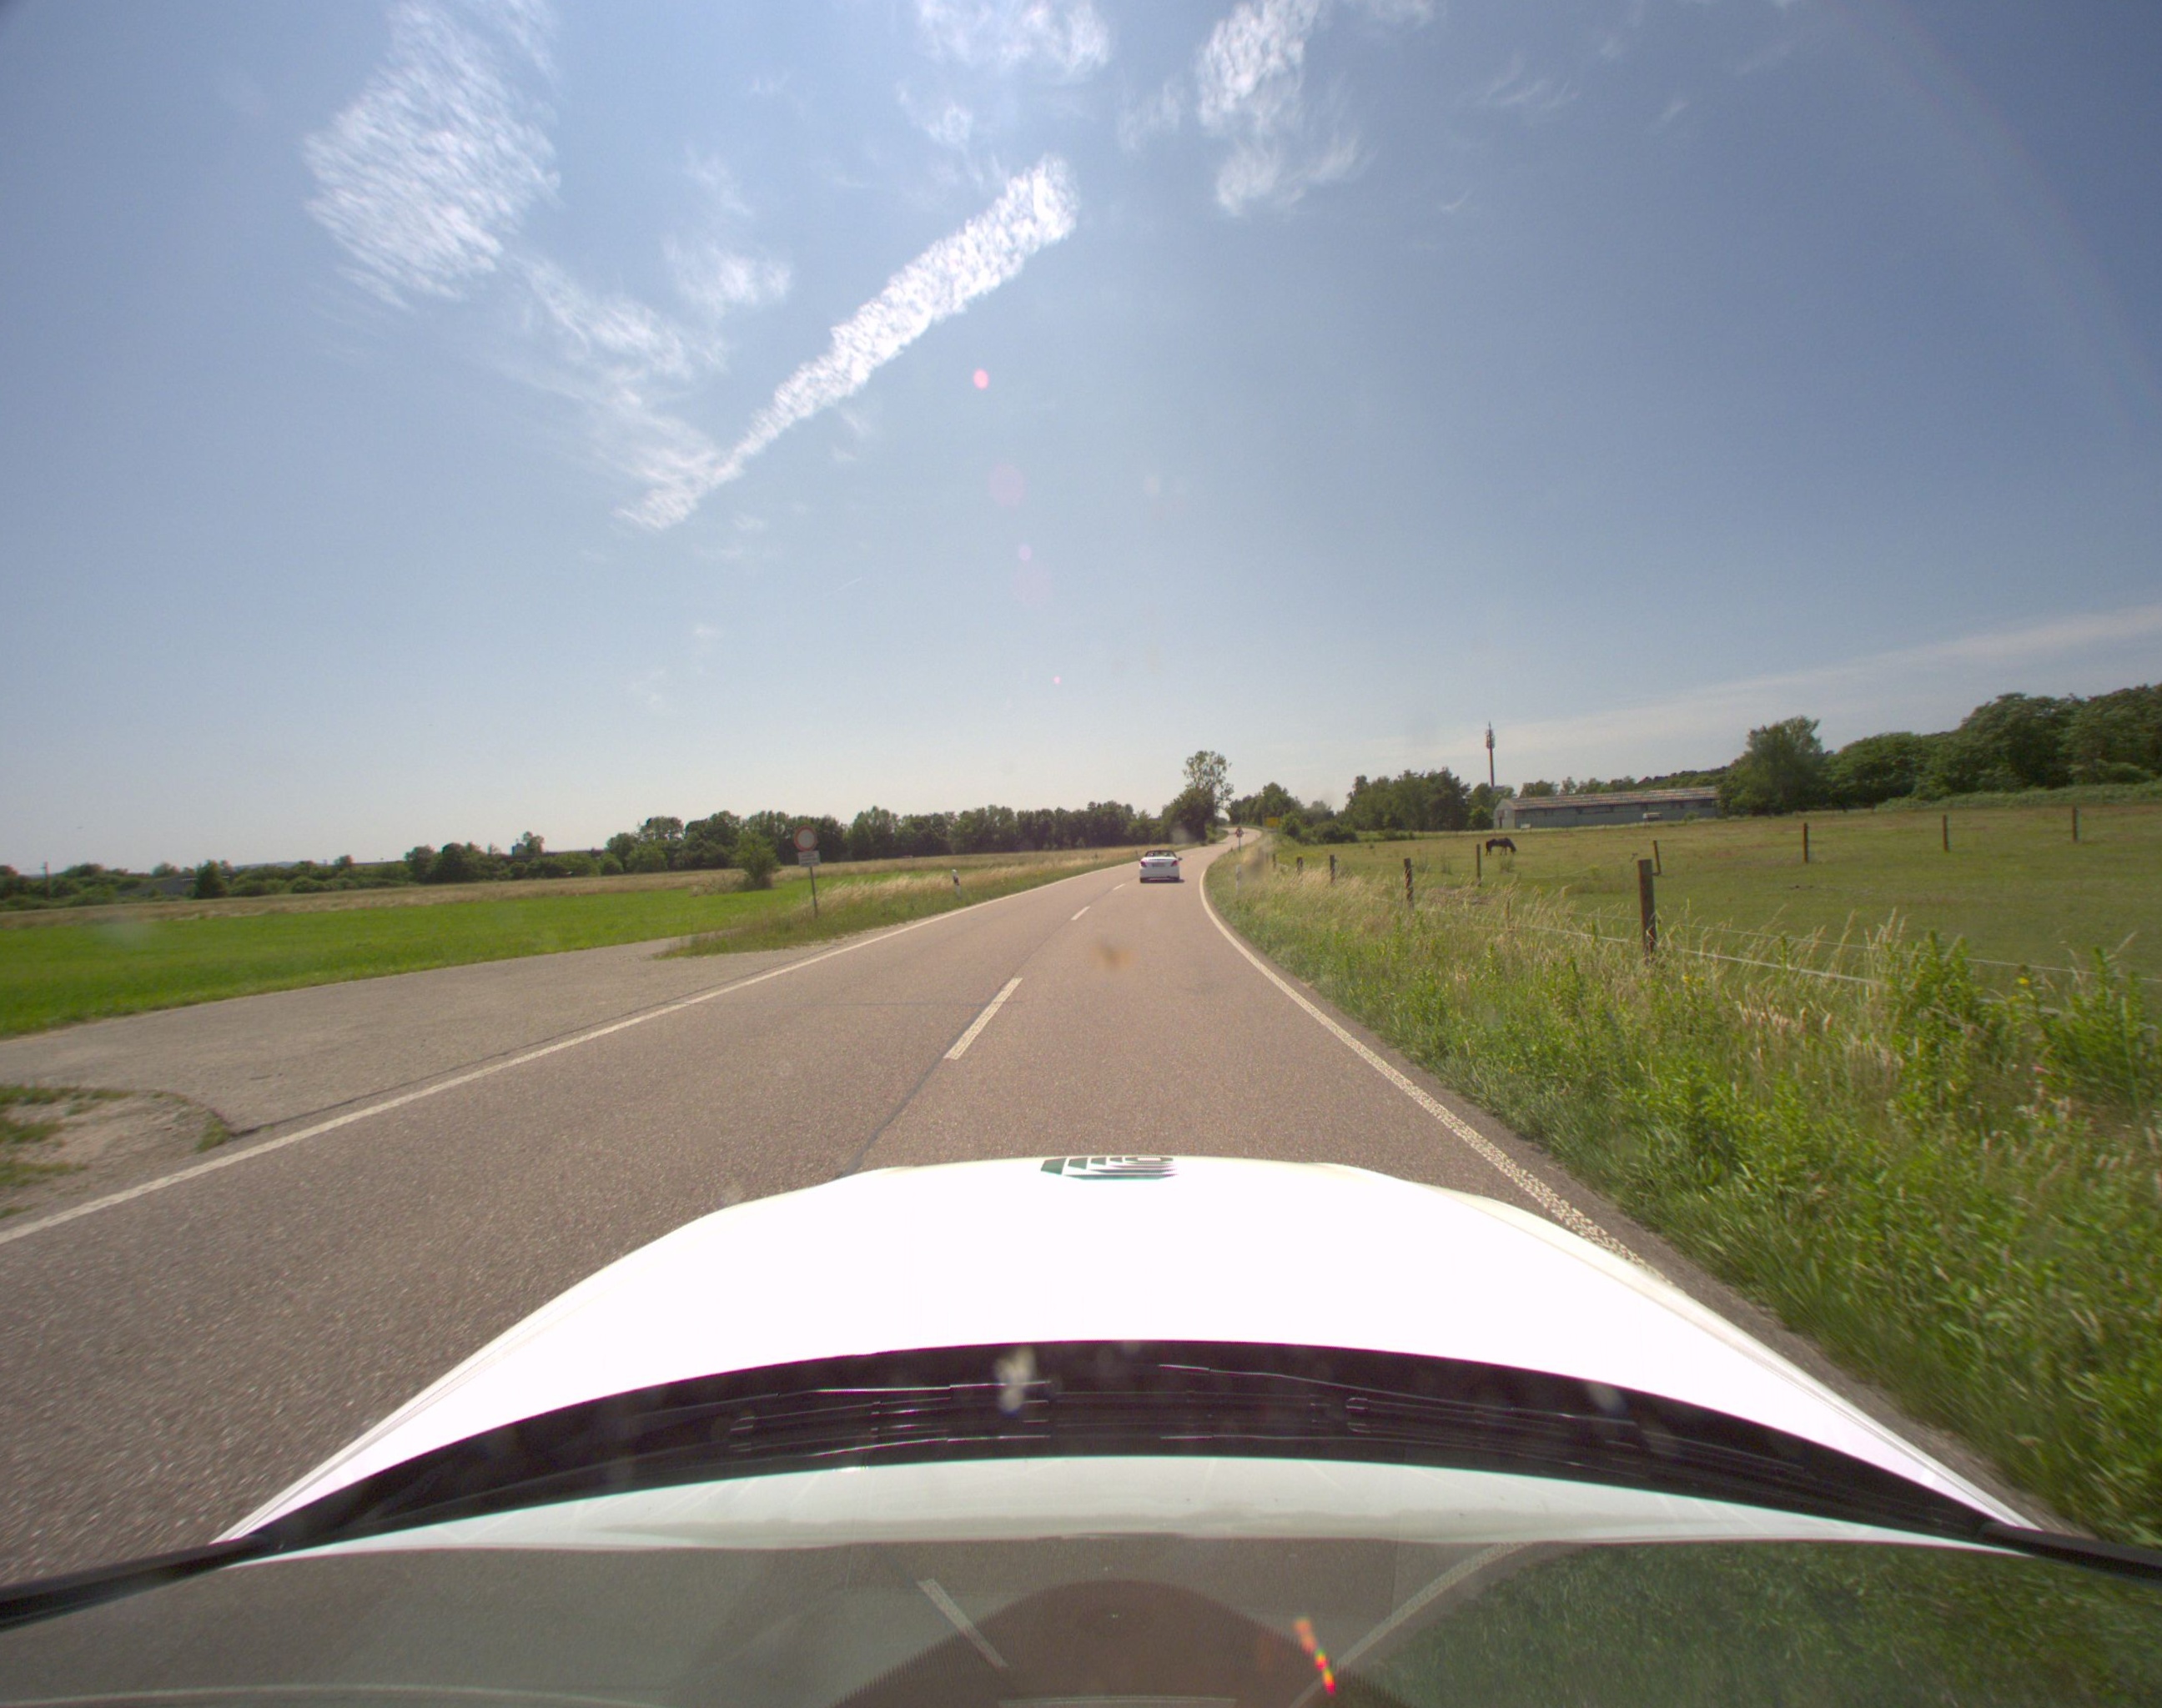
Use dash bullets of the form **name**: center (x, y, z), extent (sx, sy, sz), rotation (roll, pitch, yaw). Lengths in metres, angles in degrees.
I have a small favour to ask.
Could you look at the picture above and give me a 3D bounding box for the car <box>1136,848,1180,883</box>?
- **car**: center (3.467, 0.486, 36.254), extent (1.841, 1.379, 4.008), rotation (-1, 1, 6)
